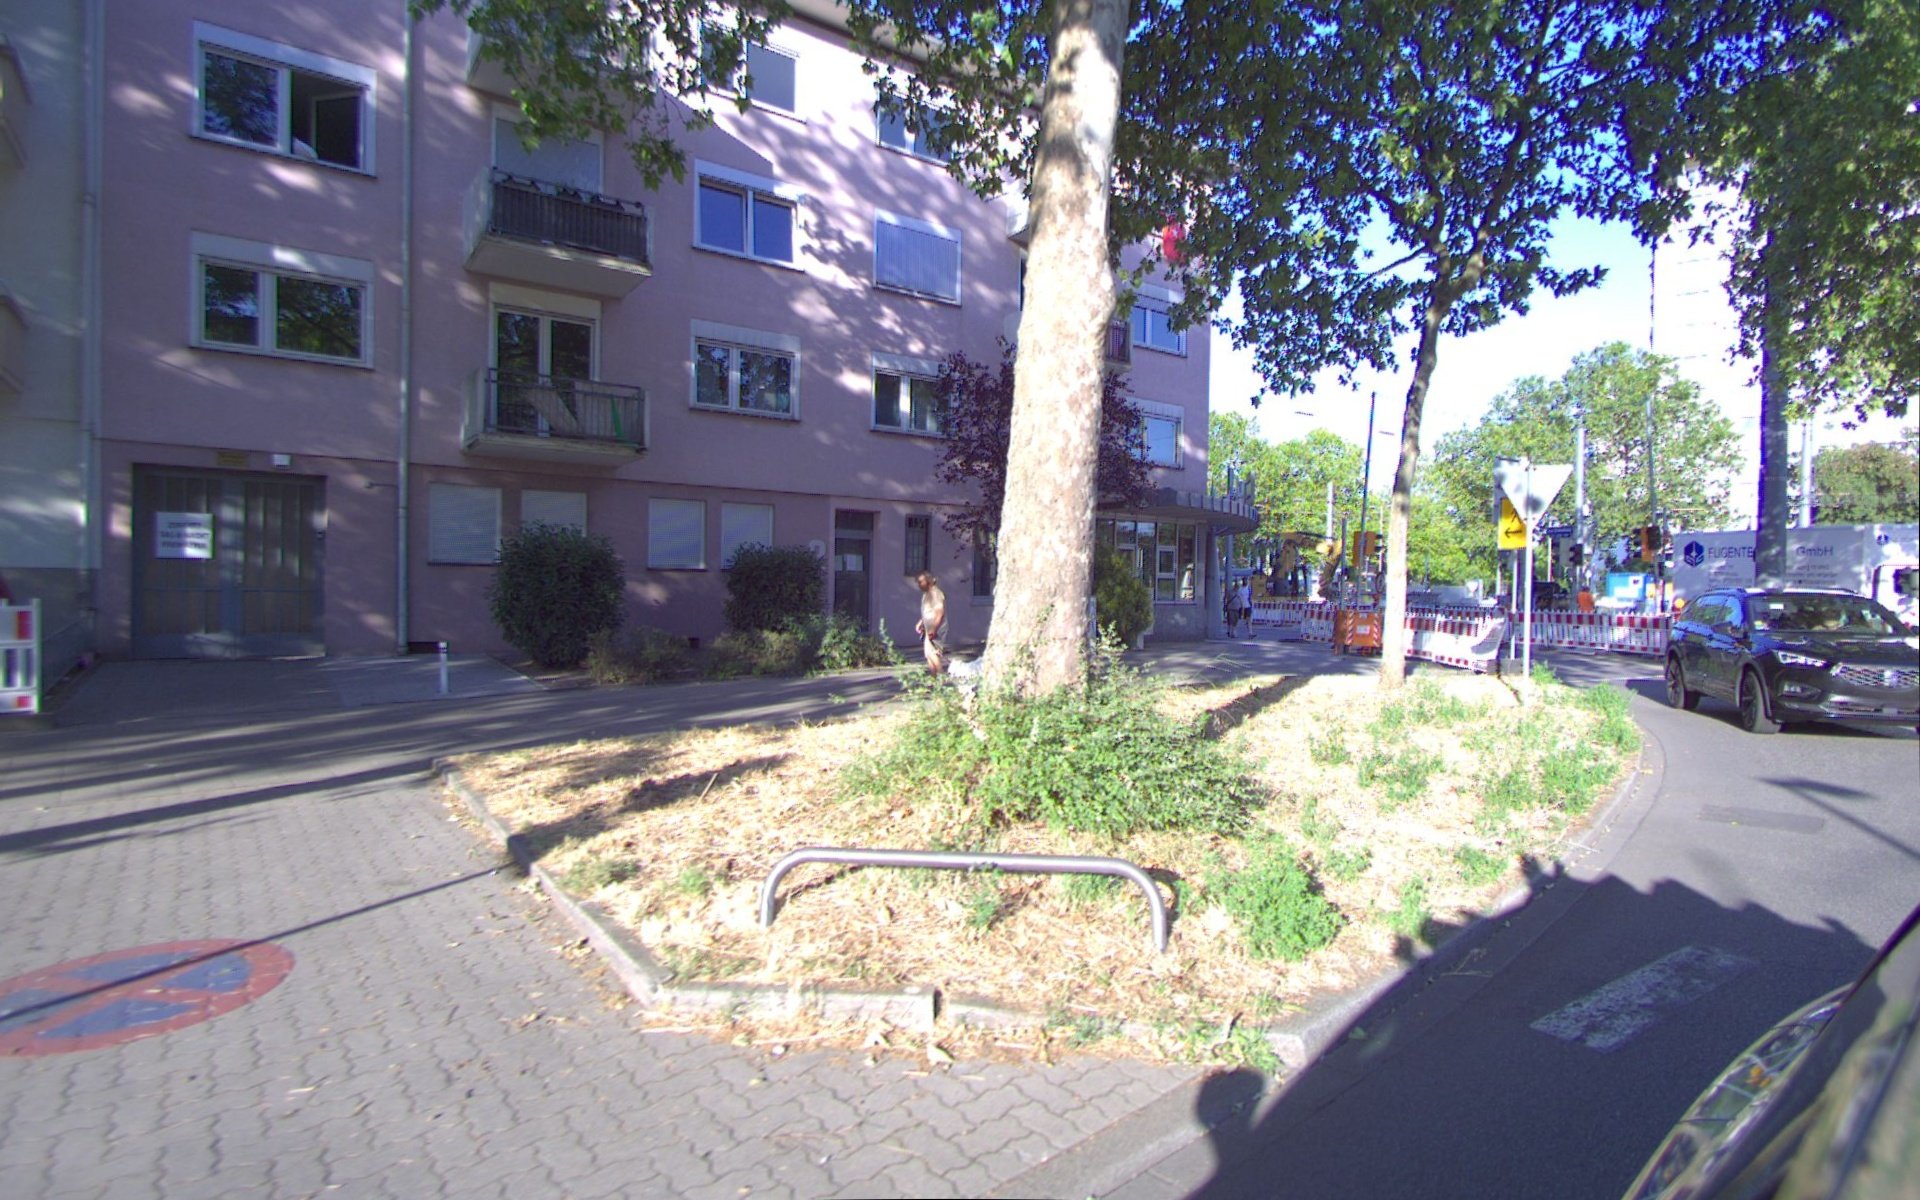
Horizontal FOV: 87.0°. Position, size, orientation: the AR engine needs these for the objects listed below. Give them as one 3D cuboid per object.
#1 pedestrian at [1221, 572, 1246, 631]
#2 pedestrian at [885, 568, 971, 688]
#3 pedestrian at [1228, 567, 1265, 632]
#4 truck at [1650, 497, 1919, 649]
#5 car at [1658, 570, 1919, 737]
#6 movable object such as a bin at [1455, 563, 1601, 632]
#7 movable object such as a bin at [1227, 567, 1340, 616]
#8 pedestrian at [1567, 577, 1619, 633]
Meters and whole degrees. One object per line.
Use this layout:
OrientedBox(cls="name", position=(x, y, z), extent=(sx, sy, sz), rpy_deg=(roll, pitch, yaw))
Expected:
OrientedBox(cls="pedestrian", position=(8.237, 0.037, 30.453), extent=(0.578, 1.730, 0.674), rpy_deg=(3, -1, 22))
OrientedBox(cls="pedestrian", position=(-0.418, 0.335, 13.153), extent=(0.802, 1.493, 0.792), rpy_deg=(0, 1, -40))
OrientedBox(cls="pedestrian", position=(8.848, -0.021, 31.272), extent=(0.827, 1.892, 1.096), rpy_deg=(5, 1, 10))
OrientedBox(cls="truck", position=(23.690, -0.681, 27.703), extent=(2.765, 3.585, 8.994), rpy_deg=(0, 1, -6))
OrientedBox(cls="car", position=(10.206, 0.543, 12.115), extent=(1.975, 1.668, 4.177), rpy_deg=(0, 0, 19))
OrientedBox(cls="movable object such as a bin", position=(20.284, -0.137, 36.465), extent=(1.960, 2.285, 5.213), rpy_deg=(-1, 1, -5))
OrientedBox(cls="movable object such as a bin", position=(16.354, -0.465, 51.388), extent=(2.602, 2.347, 4.900), rpy_deg=(0, 1, -37))
OrientedBox(cls="pedestrian", position=(20.803, 0.152, 33.259), extent=(0.955, 1.820, 1.072), rpy_deg=(0, 0, -14))
